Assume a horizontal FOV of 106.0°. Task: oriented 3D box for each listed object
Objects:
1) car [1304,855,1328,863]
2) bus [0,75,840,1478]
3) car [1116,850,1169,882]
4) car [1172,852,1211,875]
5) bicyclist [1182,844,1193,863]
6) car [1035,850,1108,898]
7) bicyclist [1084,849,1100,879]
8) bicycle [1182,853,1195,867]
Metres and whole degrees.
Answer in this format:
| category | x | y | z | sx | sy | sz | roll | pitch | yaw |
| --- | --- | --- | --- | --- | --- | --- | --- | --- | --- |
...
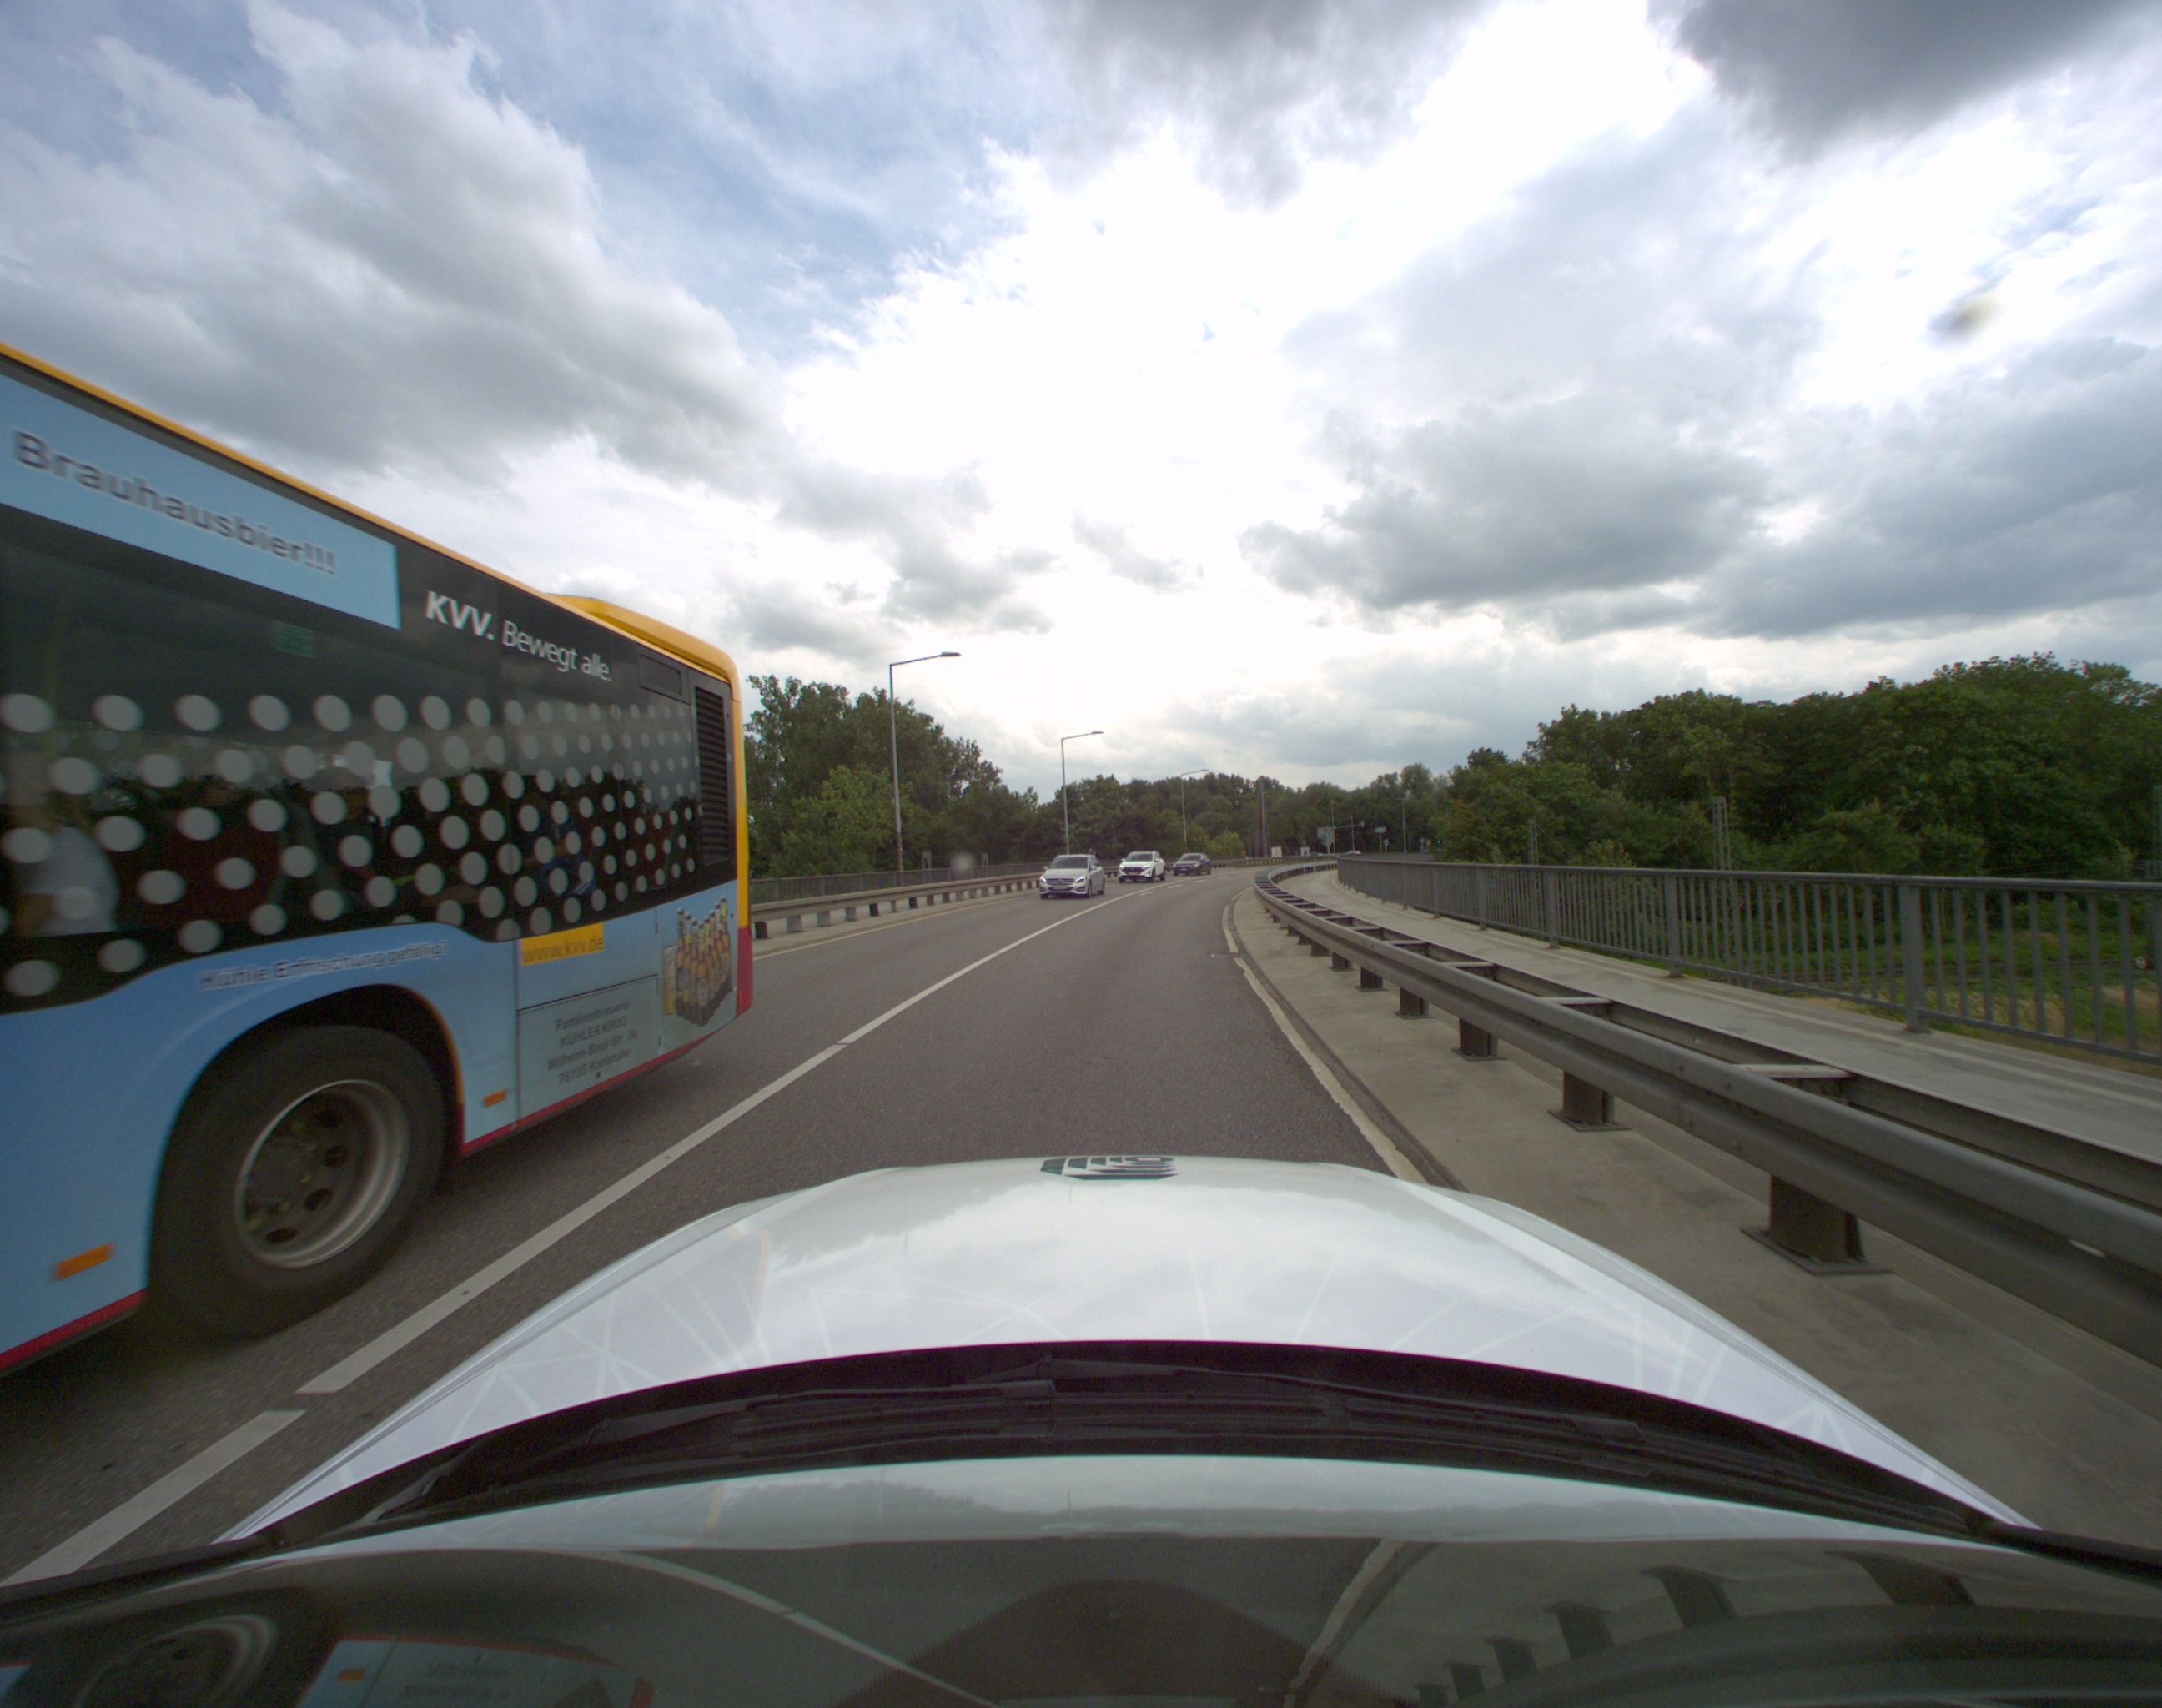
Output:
| category | x | y | z | sx | sy | sz | roll | pitch | yaw |
| --- | --- | --- | --- | --- | --- | --- | --- | --- | --- |
| car | 41.956 | 0.950 | 145.689 | 2.006 | 1.310 | 3.769 | -1 | -1 | -30 |
| bus | -4.037 | -0.175 | 1.056 | 3.020 | 3.233 | 12.959 | -1 | 0 | 3 |
| car | 3.338 | 0.636 | 43.458 | 1.926 | 1.593 | 4.793 | -1 | 0 | 15 |
| car | 7.467 | 0.628 | 54.548 | 1.794 | 1.477 | 4.403 | -1 | 0 | 18 |
| bicyclist | 9.162 | -0.014 | 69.985 | 0.764 | 1.631 | 0.652 | -1 | -2 | 22 |
| car | -0.269 | 0.697 | 29.905 | 1.806 | 1.620 | 4.411 | -1 | 0 | 11 |
| bicyclist | 0.701 | 0.611 | 50.676 | 0.843 | 1.808 | 0.799 | -1 | -1 | 11 |
| bicycle | 9.244 | 0.500 | 70.003 | 0.629 | 1.174 | 1.915 | -1 | -1 | 19 |
